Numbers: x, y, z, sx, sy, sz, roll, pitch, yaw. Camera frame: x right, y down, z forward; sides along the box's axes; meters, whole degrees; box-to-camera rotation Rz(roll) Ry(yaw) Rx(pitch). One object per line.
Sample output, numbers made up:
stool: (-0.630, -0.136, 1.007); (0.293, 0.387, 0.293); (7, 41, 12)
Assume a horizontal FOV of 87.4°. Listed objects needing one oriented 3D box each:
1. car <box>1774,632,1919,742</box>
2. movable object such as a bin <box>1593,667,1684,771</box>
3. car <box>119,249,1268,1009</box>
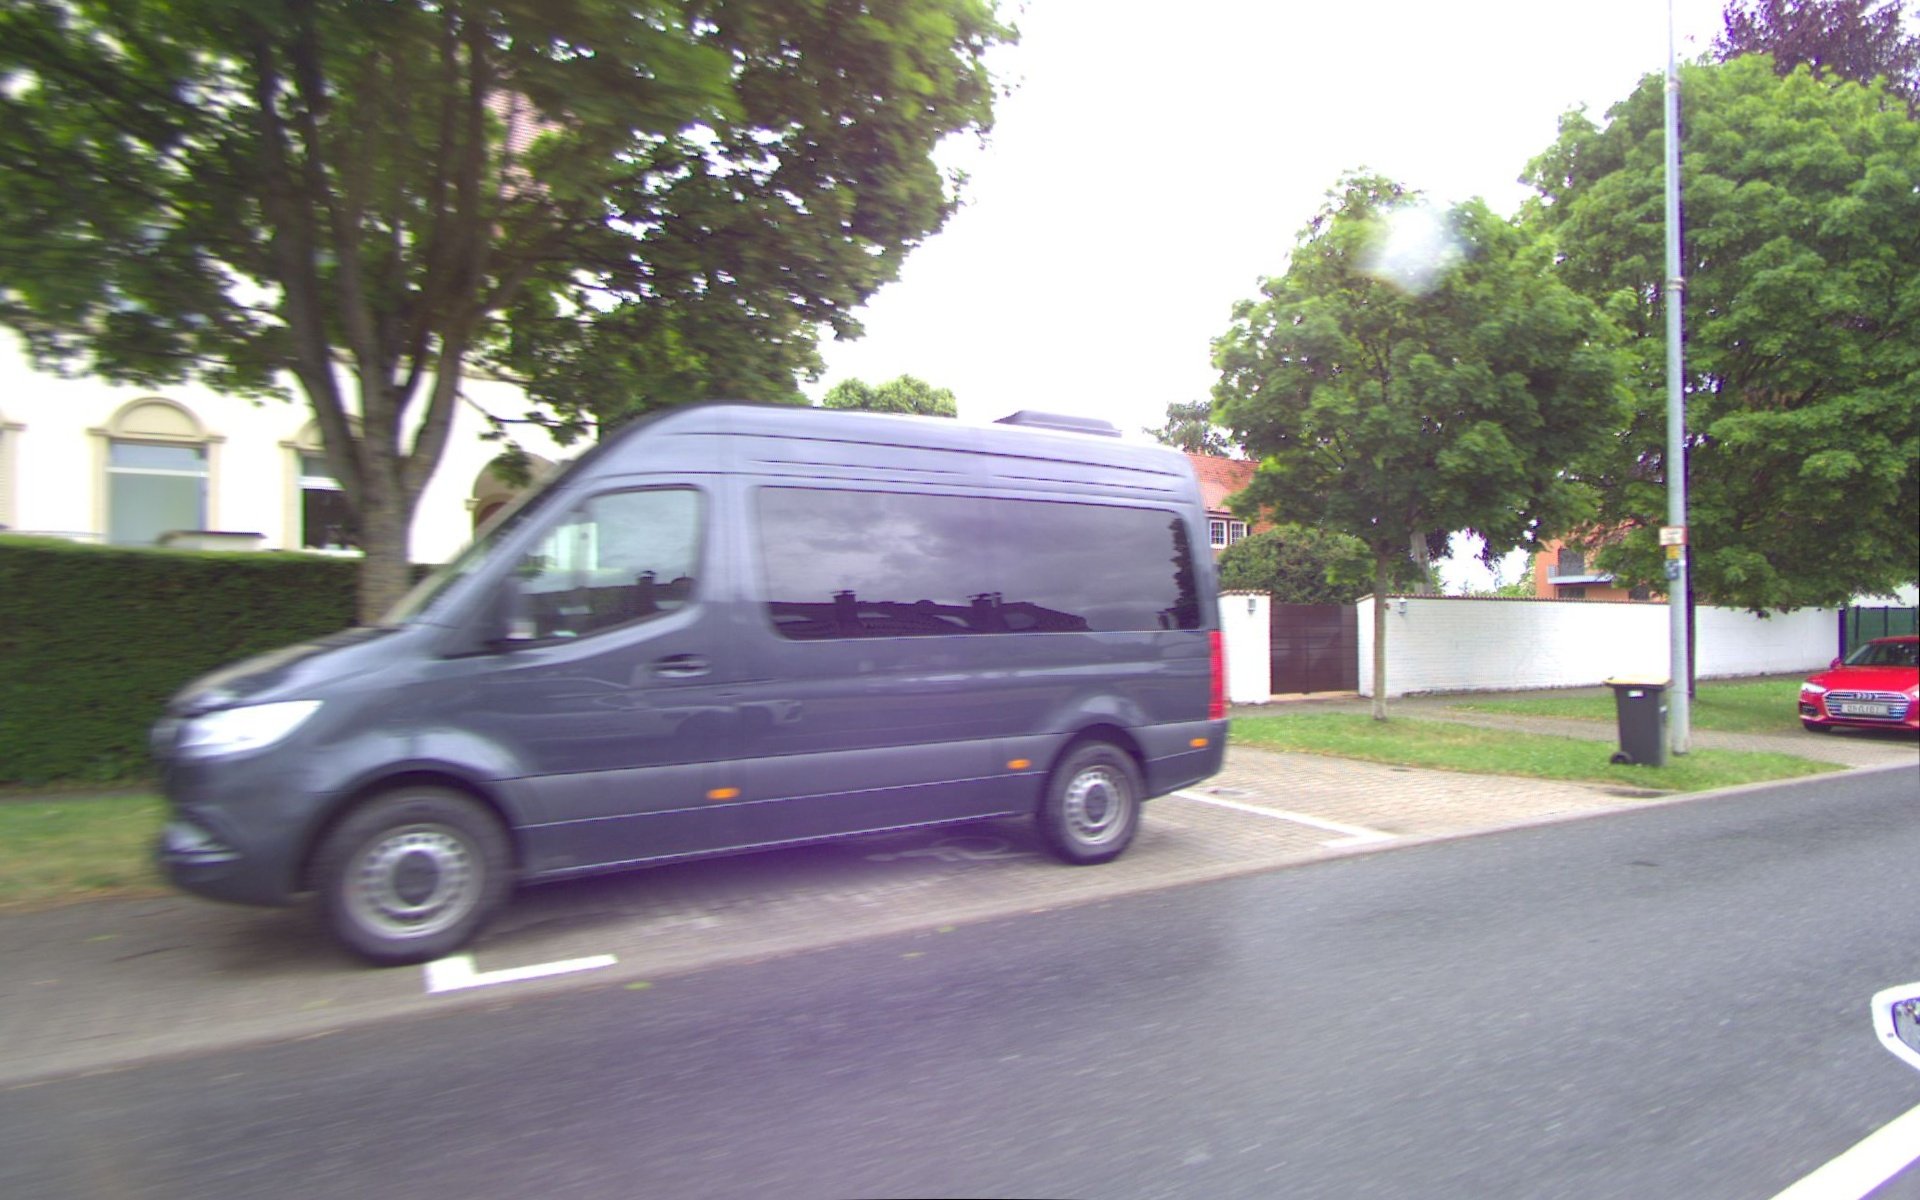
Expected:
car: (14.190, 1.197, 14.836); (4.505, 1.422, 1.984); (1, -1, -31)
movable object such as a bin: (6.764, 1.170, 10.018); (0.542, 0.966, 0.556); (1, -1, -27)
car: (-1.000, 0.144, 6.004); (5.868, 2.765, 1.984); (1, 0, -30)
